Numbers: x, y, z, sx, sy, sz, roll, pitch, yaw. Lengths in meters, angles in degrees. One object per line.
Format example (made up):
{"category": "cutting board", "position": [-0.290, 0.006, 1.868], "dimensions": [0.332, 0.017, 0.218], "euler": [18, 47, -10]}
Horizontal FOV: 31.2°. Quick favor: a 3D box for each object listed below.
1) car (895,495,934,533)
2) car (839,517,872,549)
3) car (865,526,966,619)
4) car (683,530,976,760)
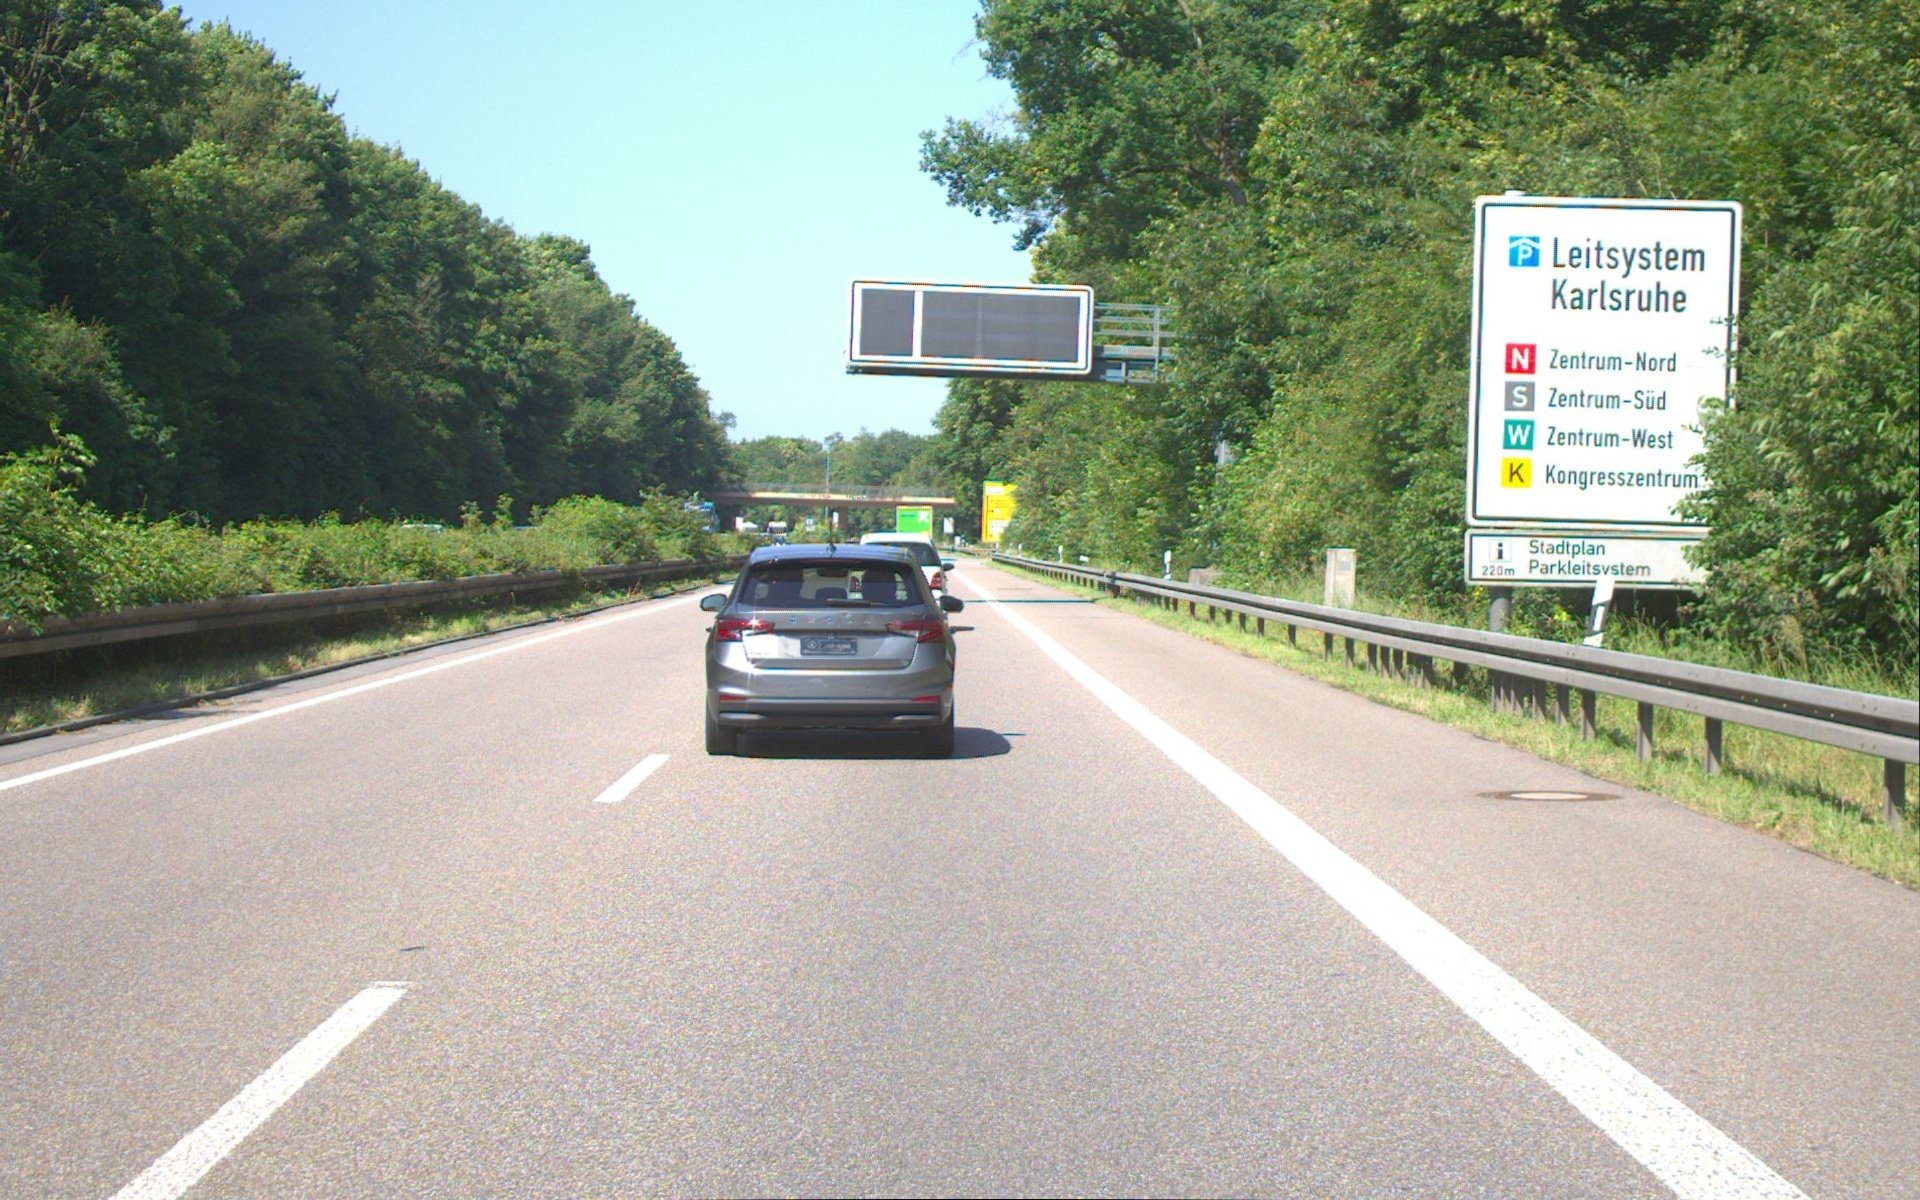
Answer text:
{"category": "car", "position": [-3.252, -6.200, 247.251], "dimensions": [2.748, 2.645, 4.000], "euler": [1, 1, 0]}
{"category": "car", "position": [-6.699, -4.269, 220.798], "dimensions": [1.993, 2.007, 4.000], "euler": [1, 1, 0]}
{"category": "car", "position": [-0.701, -0.476, 56.209], "dimensions": [1.522, 1.442, 3.340], "euler": [1, 1, 1]}
{"category": "car", "position": [-0.845, 0.256, 24.296], "dimensions": [1.840, 1.467, 3.623], "euler": [1, 1, 1]}
